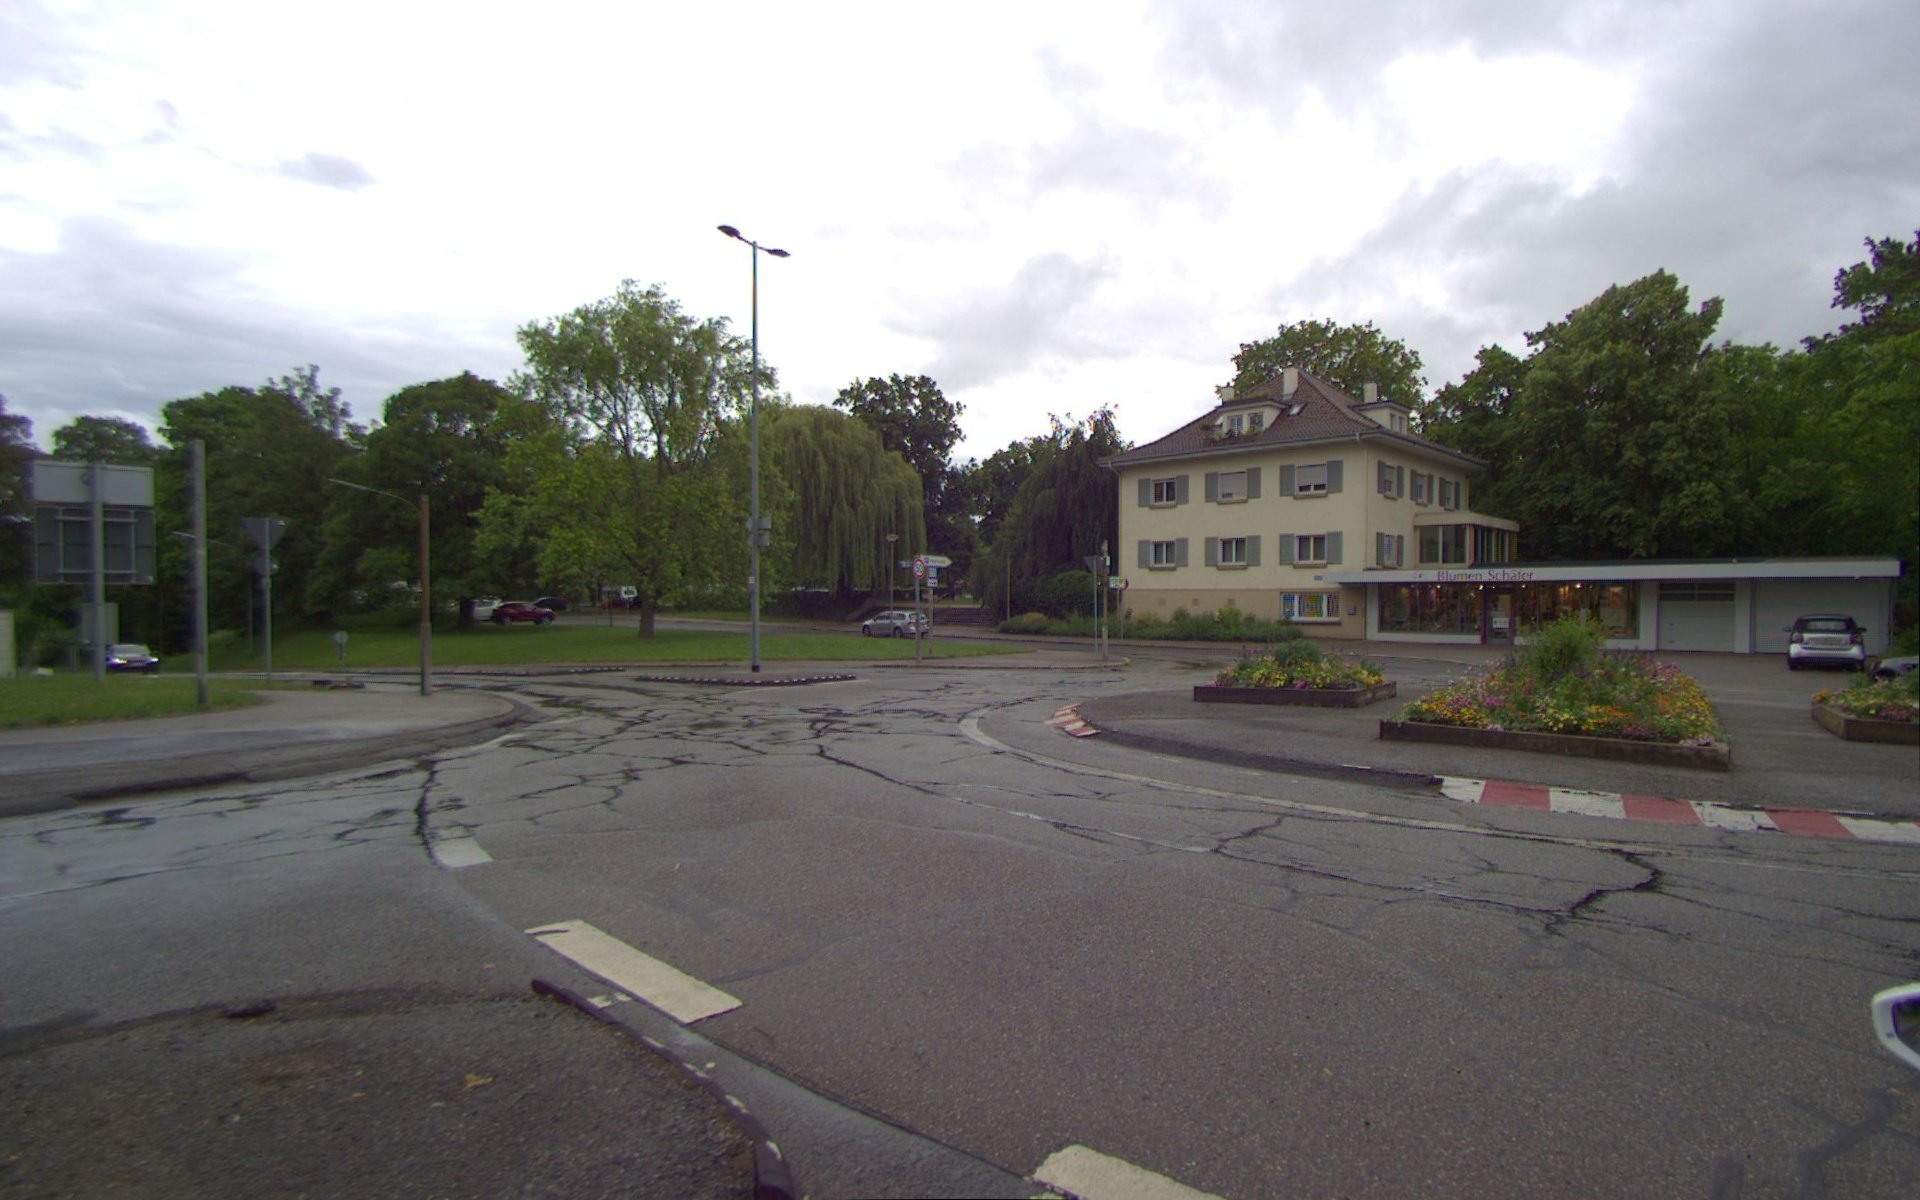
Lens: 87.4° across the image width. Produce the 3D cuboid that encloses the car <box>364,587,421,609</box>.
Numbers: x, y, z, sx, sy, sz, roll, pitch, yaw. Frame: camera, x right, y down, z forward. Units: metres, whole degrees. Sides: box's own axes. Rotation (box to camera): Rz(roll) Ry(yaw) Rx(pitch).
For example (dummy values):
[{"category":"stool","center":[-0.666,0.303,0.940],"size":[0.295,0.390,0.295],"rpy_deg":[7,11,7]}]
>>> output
[{"category":"car","center":[-45.398,-0.153,80.382],"size":[3.609,1.615,1.783],"rpy_deg":[2,0,-42]}]

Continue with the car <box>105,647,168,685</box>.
[{"category":"car","center":[-39.375,3.120,48.008],"size":[3.941,1.439,1.706],"rpy_deg":[2,0,41]}]

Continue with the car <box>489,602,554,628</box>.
[{"category":"car","center":[-29.321,0.991,67.204],"size":[3.609,1.615,1.783],"rpy_deg":[2,0,-42]}]

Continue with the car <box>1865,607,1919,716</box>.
[{"category":"car","center":[16.896,1.013,15.883],"size":[1.734,1.825,4.249],"rpy_deg":[0,-2,7]}]

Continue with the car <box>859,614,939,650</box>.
[{"category":"car","center":[-3.352,1.708,54.537],"size":[4.081,1.765,1.991],"rpy_deg":[2,0,40]}]

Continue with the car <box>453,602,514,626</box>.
[{"category":"car","center":[-34.429,1.049,72.638],"size":[3.609,1.615,1.783],"rpy_deg":[2,0,-42]}]

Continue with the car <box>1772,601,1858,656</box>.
[{"category":"car","center":[25.151,0.813,29.506],"size":[1.792,1.506,3.810],"rpy_deg":[-1,-1,42]}]
